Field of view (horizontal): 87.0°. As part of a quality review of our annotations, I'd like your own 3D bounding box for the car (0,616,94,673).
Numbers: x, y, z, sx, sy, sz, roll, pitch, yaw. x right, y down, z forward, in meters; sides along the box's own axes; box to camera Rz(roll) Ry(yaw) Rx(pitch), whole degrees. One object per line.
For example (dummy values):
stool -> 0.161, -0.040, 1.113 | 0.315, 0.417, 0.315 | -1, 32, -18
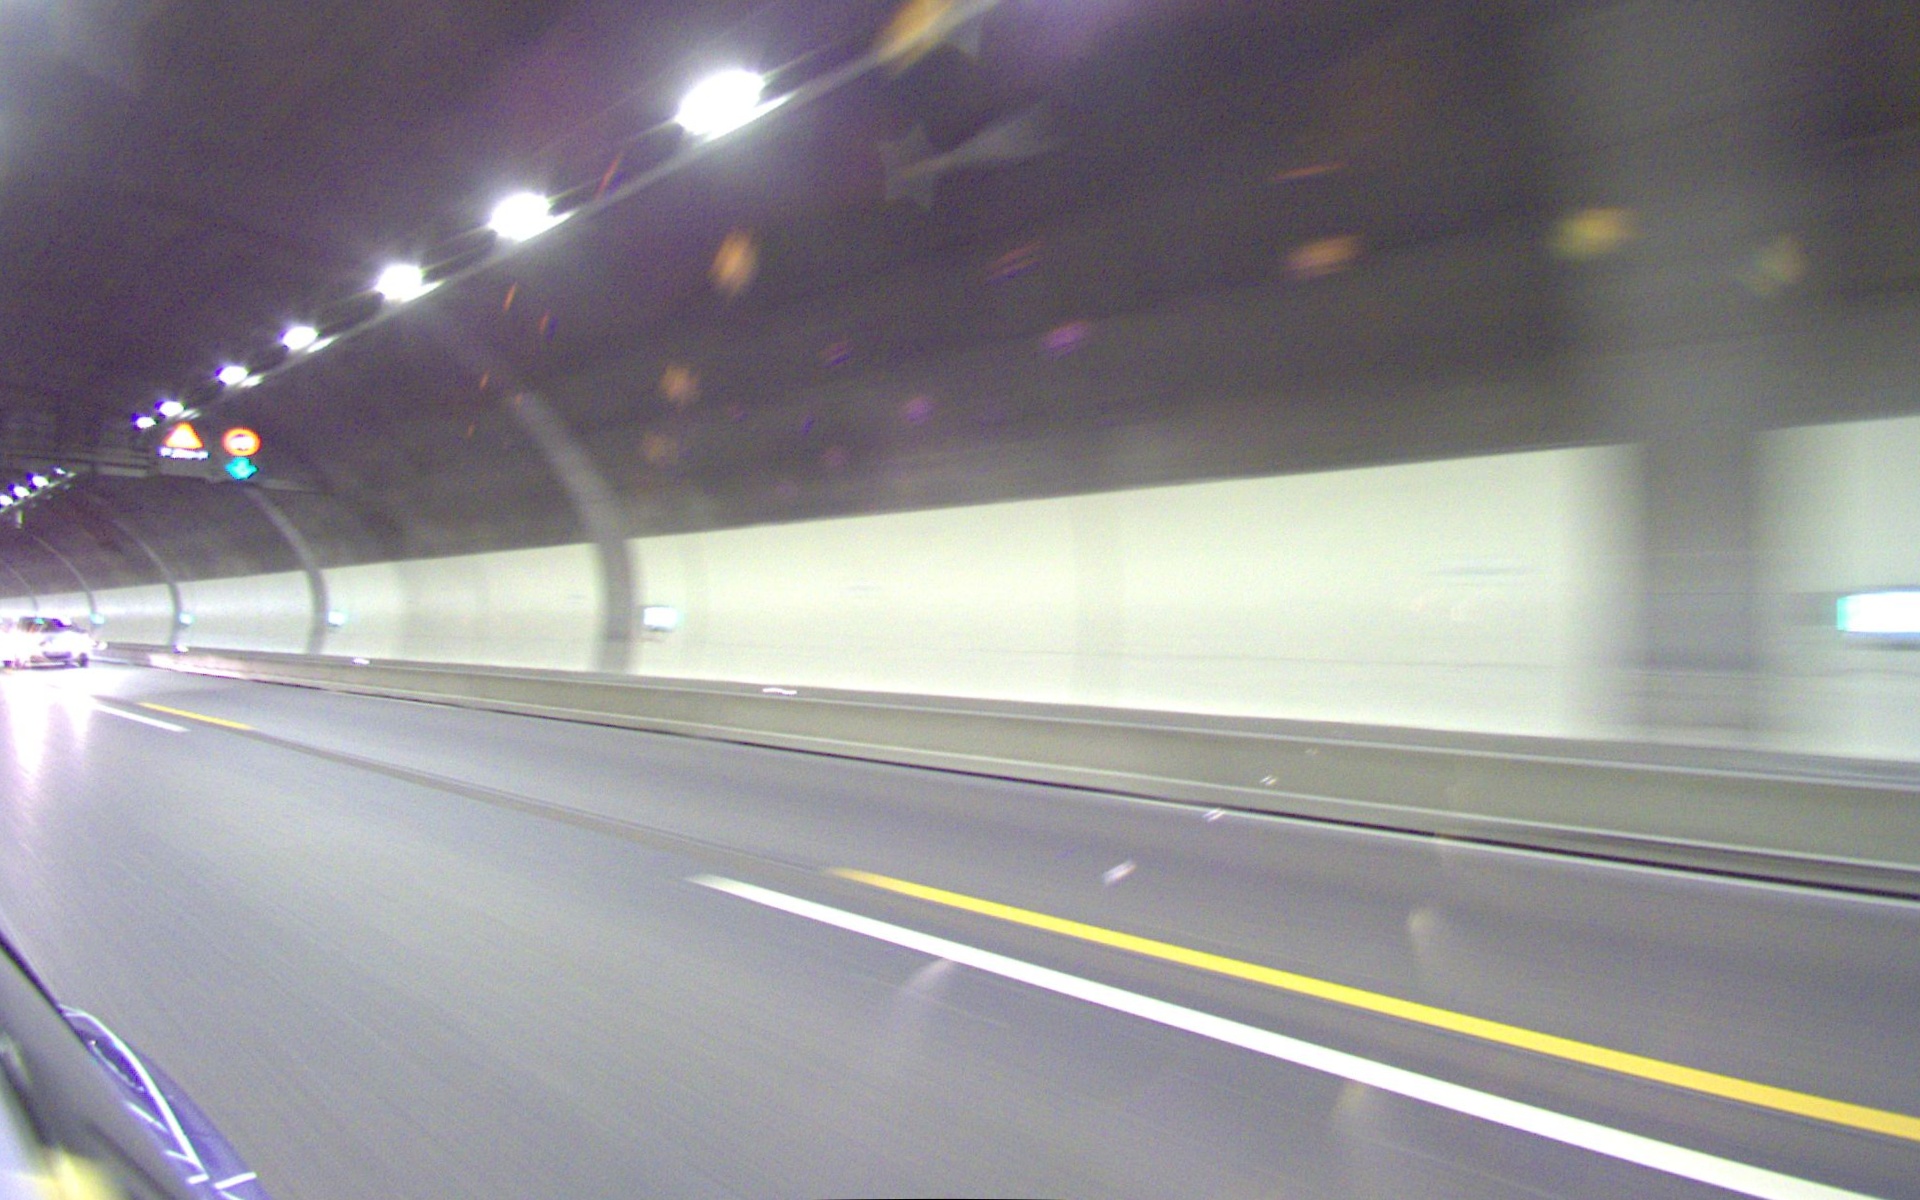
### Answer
car -> -27.682, 1.291, 30.514 | 4.094, 1.584, 1.744 | -1, -1, 40
